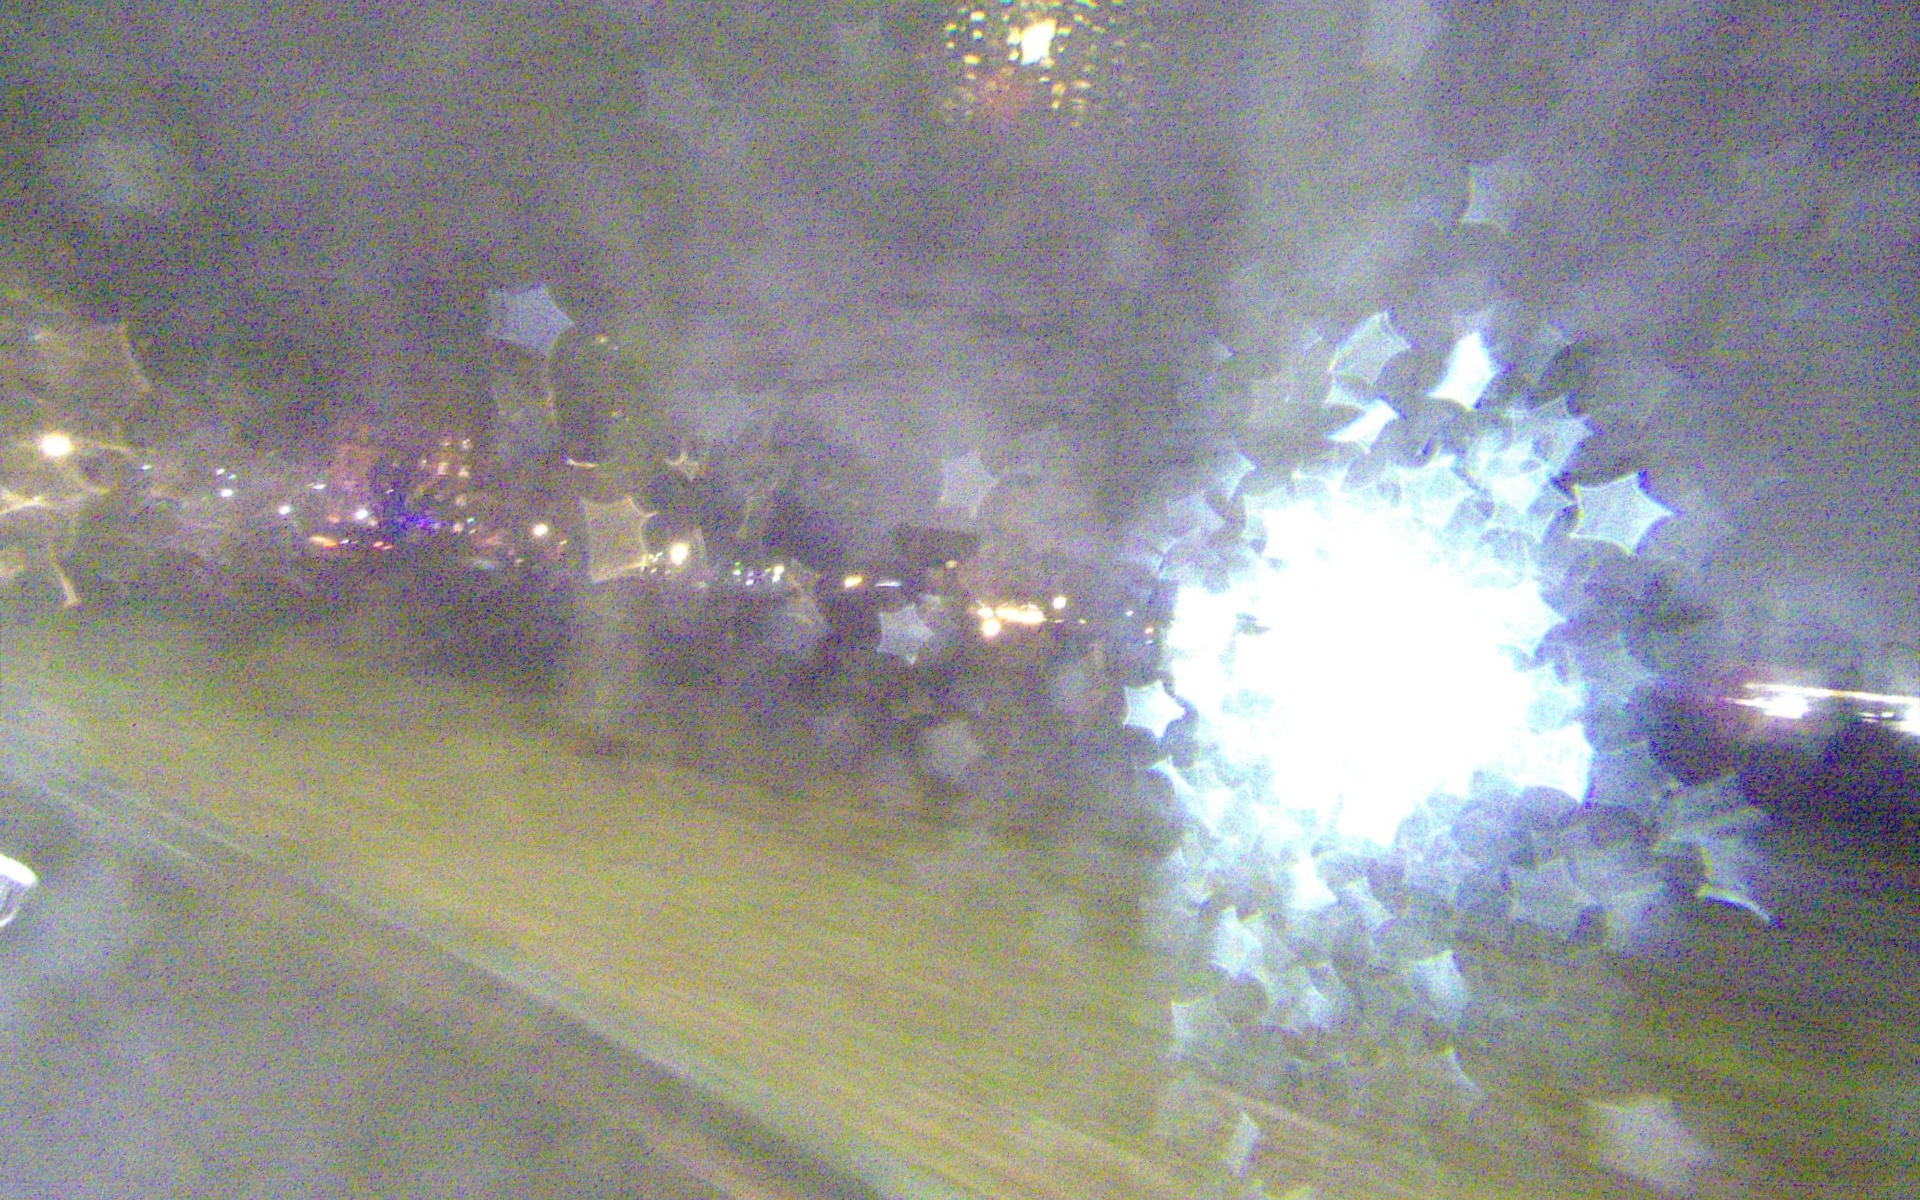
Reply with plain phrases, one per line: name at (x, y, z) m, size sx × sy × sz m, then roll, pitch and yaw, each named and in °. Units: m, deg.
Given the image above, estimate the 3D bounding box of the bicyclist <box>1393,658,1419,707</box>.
bicyclist at (14.090, 2.590, 31.767) m, size 0.605 × 1.464 × 0.605 m, roll 6°, pitch -1°, yaw 25°

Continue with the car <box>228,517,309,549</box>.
car at (-47.731, -4.625, 69.473) m, size 4.900 × 1.554 × 1.723 m, roll 6°, pitch -1°, yaw 15°

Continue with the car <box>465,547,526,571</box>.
car at (-42.011, -3.730, 90.957) m, size 4.900 × 1.554 × 1.723 m, roll 6°, pitch -1°, yaw 15°

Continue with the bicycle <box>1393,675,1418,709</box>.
bicycle at (14.096, 2.906, 31.849) m, size 0.610 × 0.988 × 2.422 m, roll 6°, pitch -2°, yaw 24°

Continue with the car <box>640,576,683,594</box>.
car at (-32.930, -1.660, 110.986) m, size 4.071 × 1.391 × 1.723 m, roll 6°, pitch -1°, yaw 15°
